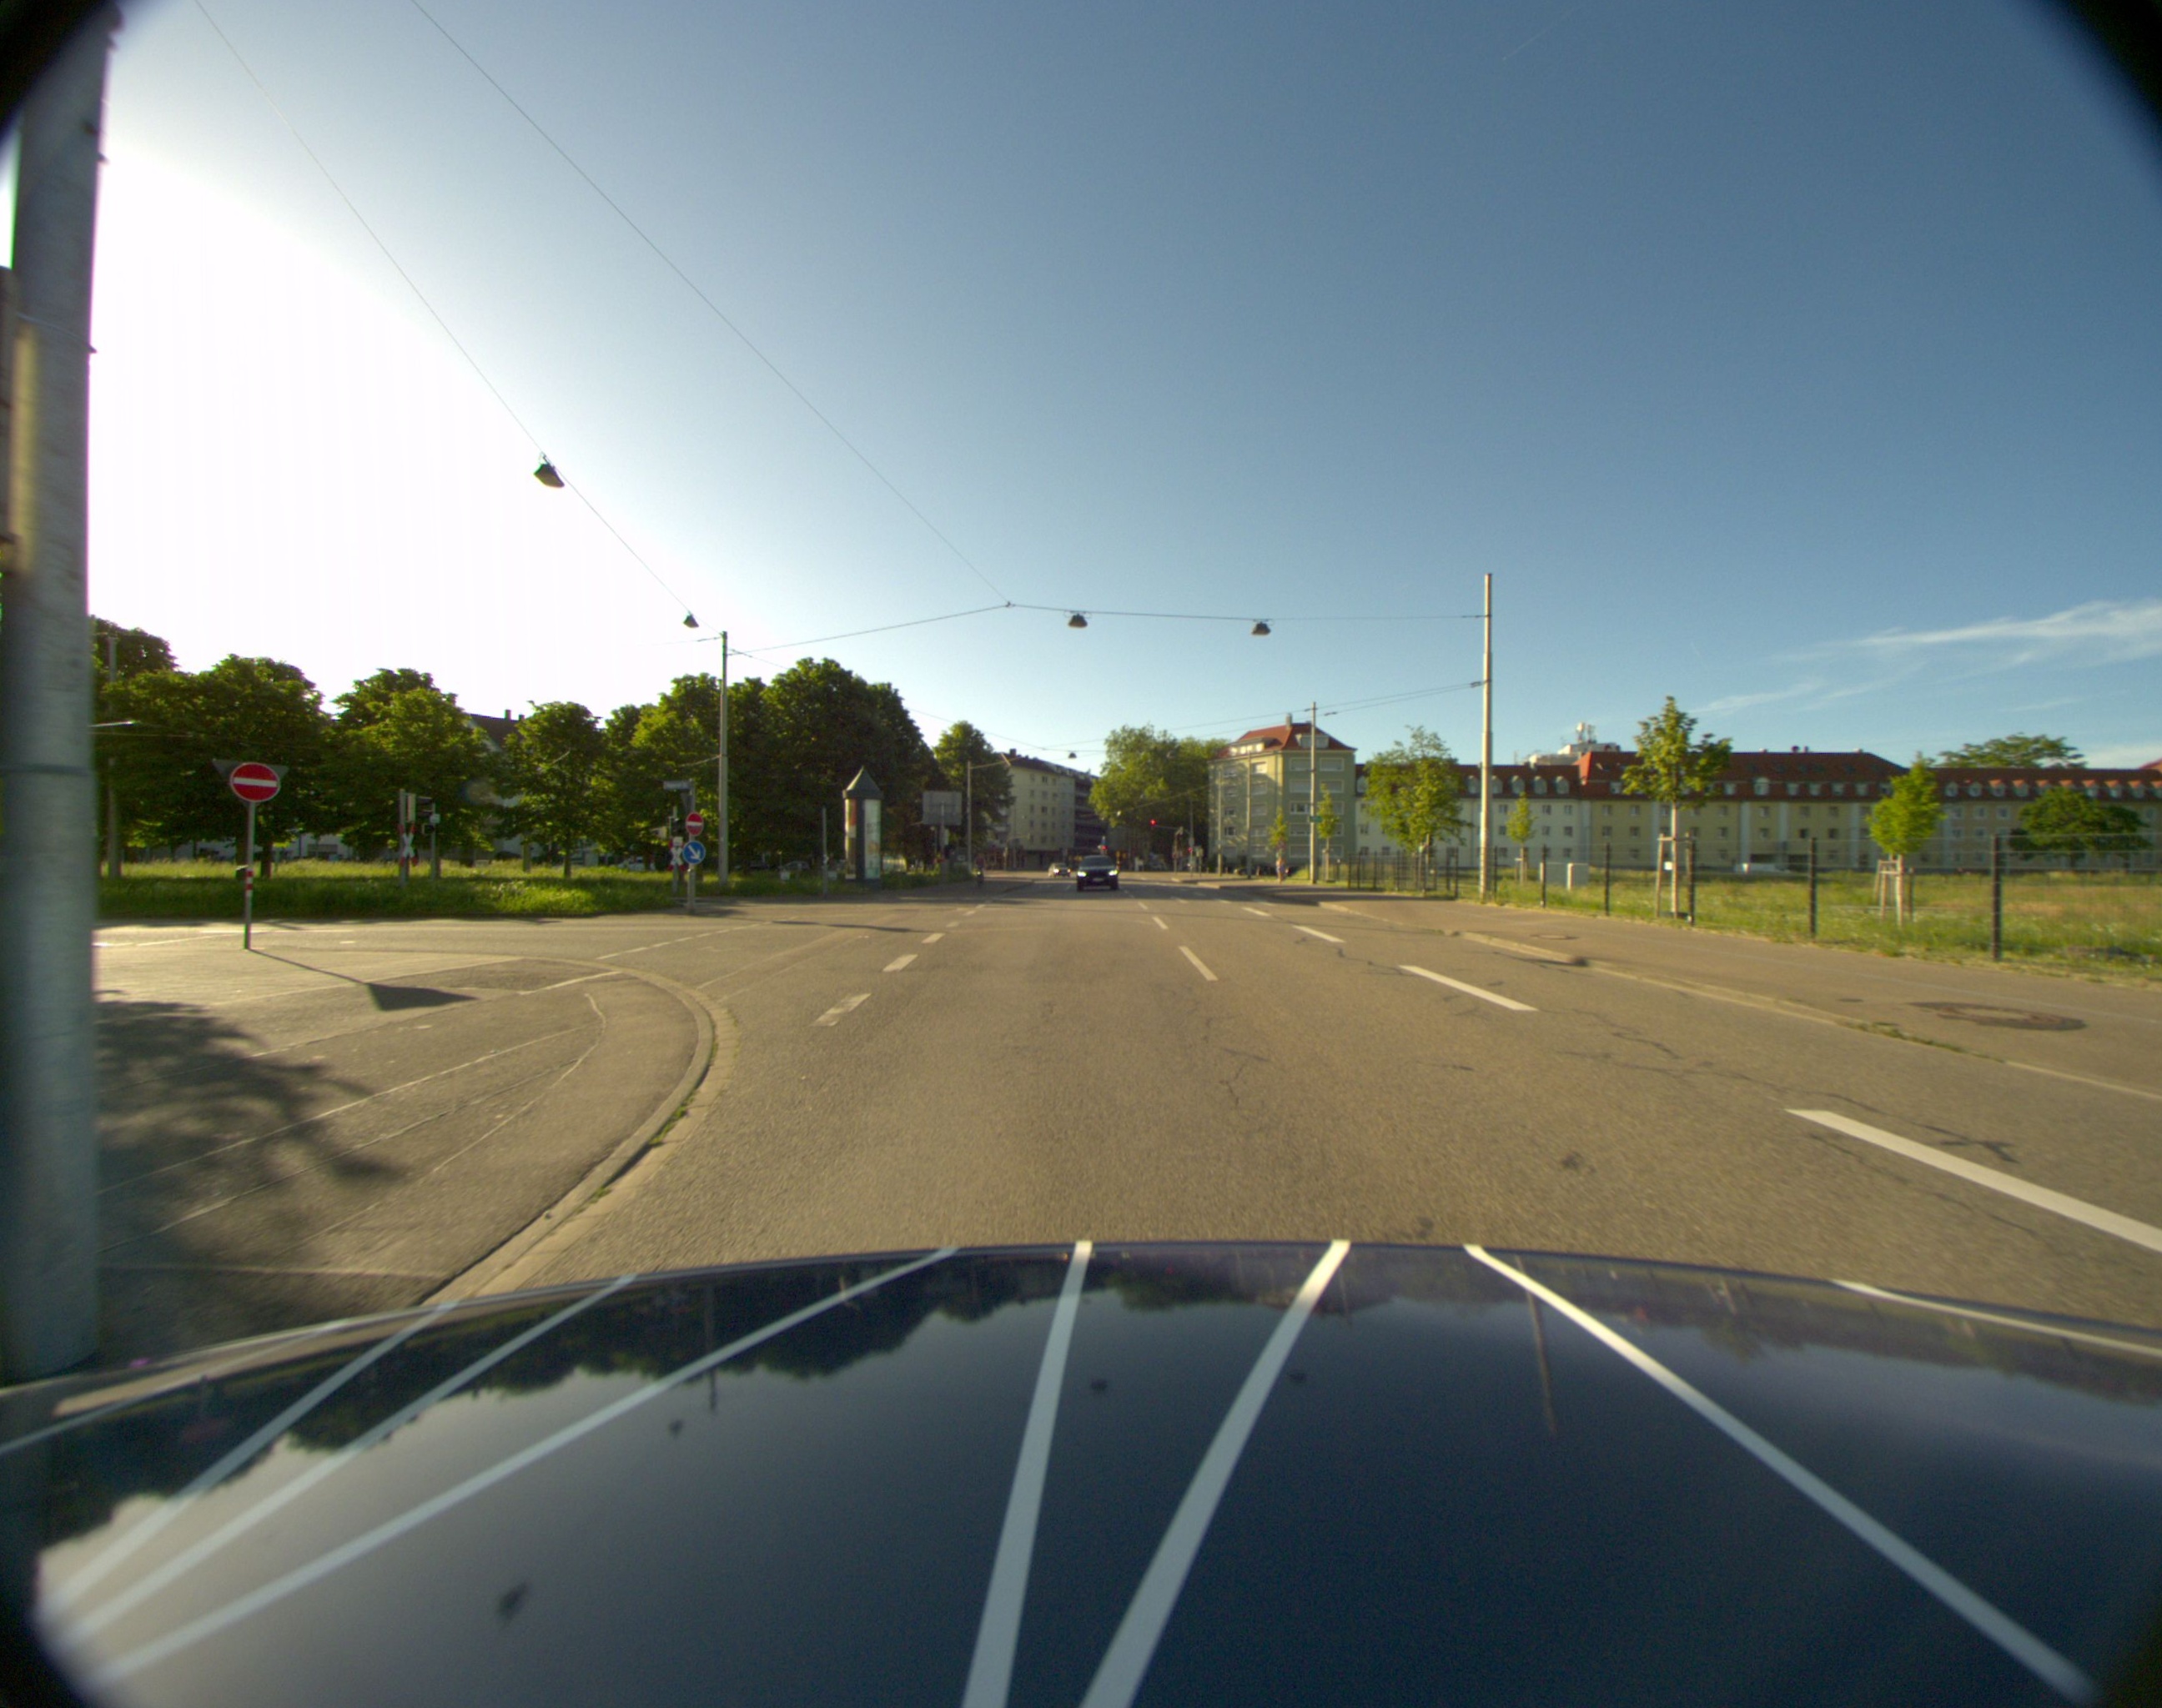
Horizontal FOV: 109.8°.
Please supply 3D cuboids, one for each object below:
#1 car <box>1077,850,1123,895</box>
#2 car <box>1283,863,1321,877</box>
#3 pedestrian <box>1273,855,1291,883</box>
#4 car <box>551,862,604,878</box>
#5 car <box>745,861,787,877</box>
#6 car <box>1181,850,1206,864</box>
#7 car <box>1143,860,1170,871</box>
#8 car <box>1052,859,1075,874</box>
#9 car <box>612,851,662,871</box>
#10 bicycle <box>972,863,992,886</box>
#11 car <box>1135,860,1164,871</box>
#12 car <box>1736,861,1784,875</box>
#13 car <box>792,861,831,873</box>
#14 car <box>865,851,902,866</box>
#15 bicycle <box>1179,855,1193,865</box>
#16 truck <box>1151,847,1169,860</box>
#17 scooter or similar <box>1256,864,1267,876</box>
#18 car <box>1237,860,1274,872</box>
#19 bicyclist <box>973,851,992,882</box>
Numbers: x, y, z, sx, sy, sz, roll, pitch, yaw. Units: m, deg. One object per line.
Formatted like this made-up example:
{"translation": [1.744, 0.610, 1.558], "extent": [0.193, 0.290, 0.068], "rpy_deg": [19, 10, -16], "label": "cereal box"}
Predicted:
{"translation": [0.855, 0.808, 36.165], "extent": [1.941, 1.922, 4.522], "rpy_deg": [-2, 1, -1], "label": "car"}
{"translation": [25.302, 1.852, 87.116], "extent": [3.900, 1.520, 1.701], "rpy_deg": [0, -3, -2], "label": "car"}
{"translation": [12.217, 0.893, 46.177], "extent": [0.834, 1.620, 1.181], "rpy_deg": [-2, 0, 4], "label": "pedestrian"}
{"translation": [-52.958, 1.681, 79.944], "extent": [4.386, 1.420, 1.686], "rpy_deg": [-3, 2, -44], "label": "car"}
{"translation": [-38.156, 1.845, 92.119], "extent": [4.194, 1.707, 1.994], "rpy_deg": [-3, 2, -45], "label": "car"}
{"translation": [21.578, 0.592, 145.671], "extent": [4.411, 2.612, 1.972], "rpy_deg": [-1, 2, 22], "label": "car"}
{"translation": [12.383, 1.870, 124.835], "extent": [4.140, 1.631, 1.777], "rpy_deg": [-1, 1, 22], "label": "car"}
{"translation": [-1.868, 1.303, 78.649], "extent": [1.703, 1.432, 3.643], "rpy_deg": [-1, -1, -12], "label": "car"}
{"translation": [-48.791, 0.741, 83.474], "extent": [4.341, 1.953, 1.904], "rpy_deg": [-3, 2, -44], "label": "car"}
{"translation": [-5.156, 1.068, 39.752], "extent": [0.720, 1.185, 2.001], "rpy_deg": [1, 0, 1], "label": "bicycle"}
{"translation": [10.977, 1.908, 121.699], "extent": [4.140, 1.631, 1.777], "rpy_deg": [-1, 1, 22], "label": "car"}
{"translation": [76.795, 1.562, 85.970], "extent": [3.900, 1.520, 1.701], "rpy_deg": [0, -3, -2], "label": "car"}
{"translation": [-33.750, 1.649, 95.172], "extent": [4.194, 1.337, 1.994], "rpy_deg": [-3, 2, -45], "label": "car"}
{"translation": [-26.541, 0.618, 102.176], "extent": [4.257, 1.847, 1.994], "rpy_deg": [-3, 2, -45], "label": "car"}
{"translation": [16.006, 0.967, 115.986], "extent": [2.047, 1.454, 0.727], "rpy_deg": [2, 4, 30], "label": "bicycle"}
{"translation": [18.849, -0.198, 181.207], "extent": [2.339, 2.955, 8.042], "rpy_deg": [-1, 1, 20], "label": "truck"}
{"translation": [19.562, 1.744, 82.524], "extent": [0.593, 1.137, 1.270], "rpy_deg": [1, -4, 42], "label": "scooter or similar"}
{"translation": [21.623, 1.488, 94.432], "extent": [4.204, 1.484, 1.943], "rpy_deg": [0, -1, 2], "label": "car"}
{"translation": [-5.152, 0.639, 39.768], "extent": [0.813, 1.590, 1.149], "rpy_deg": [1, 0, 1], "label": "bicyclist"}
